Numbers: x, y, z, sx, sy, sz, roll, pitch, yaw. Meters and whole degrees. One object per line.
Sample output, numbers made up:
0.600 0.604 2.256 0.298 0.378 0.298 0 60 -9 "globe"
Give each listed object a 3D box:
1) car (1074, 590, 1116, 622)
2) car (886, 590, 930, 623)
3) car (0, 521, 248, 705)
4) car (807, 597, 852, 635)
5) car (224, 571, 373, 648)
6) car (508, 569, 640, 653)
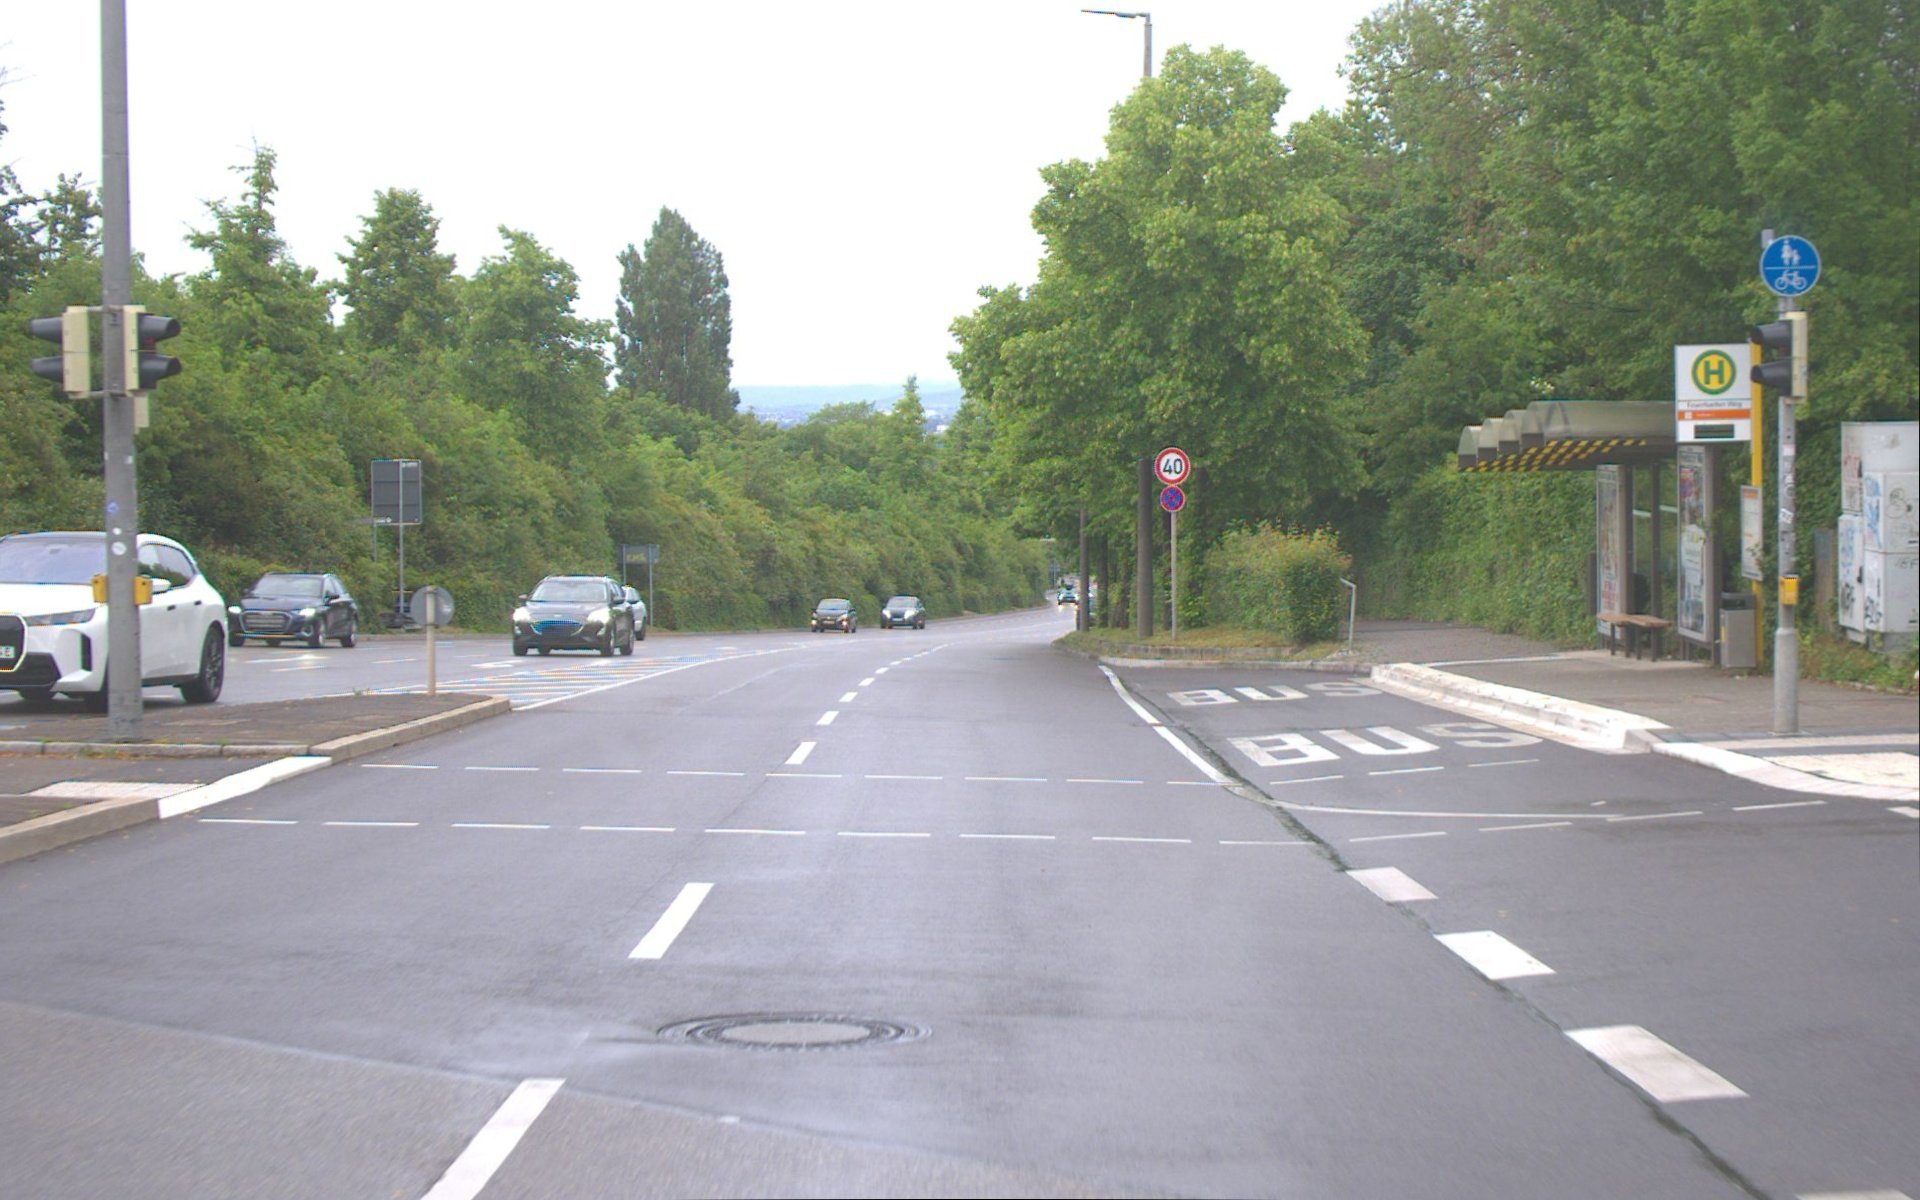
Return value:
7.128 0.325 181.398 1.945 1.585 3.927 0 1 7 "car"
-2.607 0.340 173.331 1.864 1.584 3.892 3 0 4 "car"
-8.506 0.074 33.114 1.945 1.630 5.005 0 1 4 "car"
-5.719 0.686 151.050 1.725 1.560 3.892 3 0 1 "car"
-12.771 0.154 66.595 1.820 1.433 4.454 0 1 3 "car"
-7.057 0.174 63.220 1.778 1.467 4.645 1 0 2 "car"
